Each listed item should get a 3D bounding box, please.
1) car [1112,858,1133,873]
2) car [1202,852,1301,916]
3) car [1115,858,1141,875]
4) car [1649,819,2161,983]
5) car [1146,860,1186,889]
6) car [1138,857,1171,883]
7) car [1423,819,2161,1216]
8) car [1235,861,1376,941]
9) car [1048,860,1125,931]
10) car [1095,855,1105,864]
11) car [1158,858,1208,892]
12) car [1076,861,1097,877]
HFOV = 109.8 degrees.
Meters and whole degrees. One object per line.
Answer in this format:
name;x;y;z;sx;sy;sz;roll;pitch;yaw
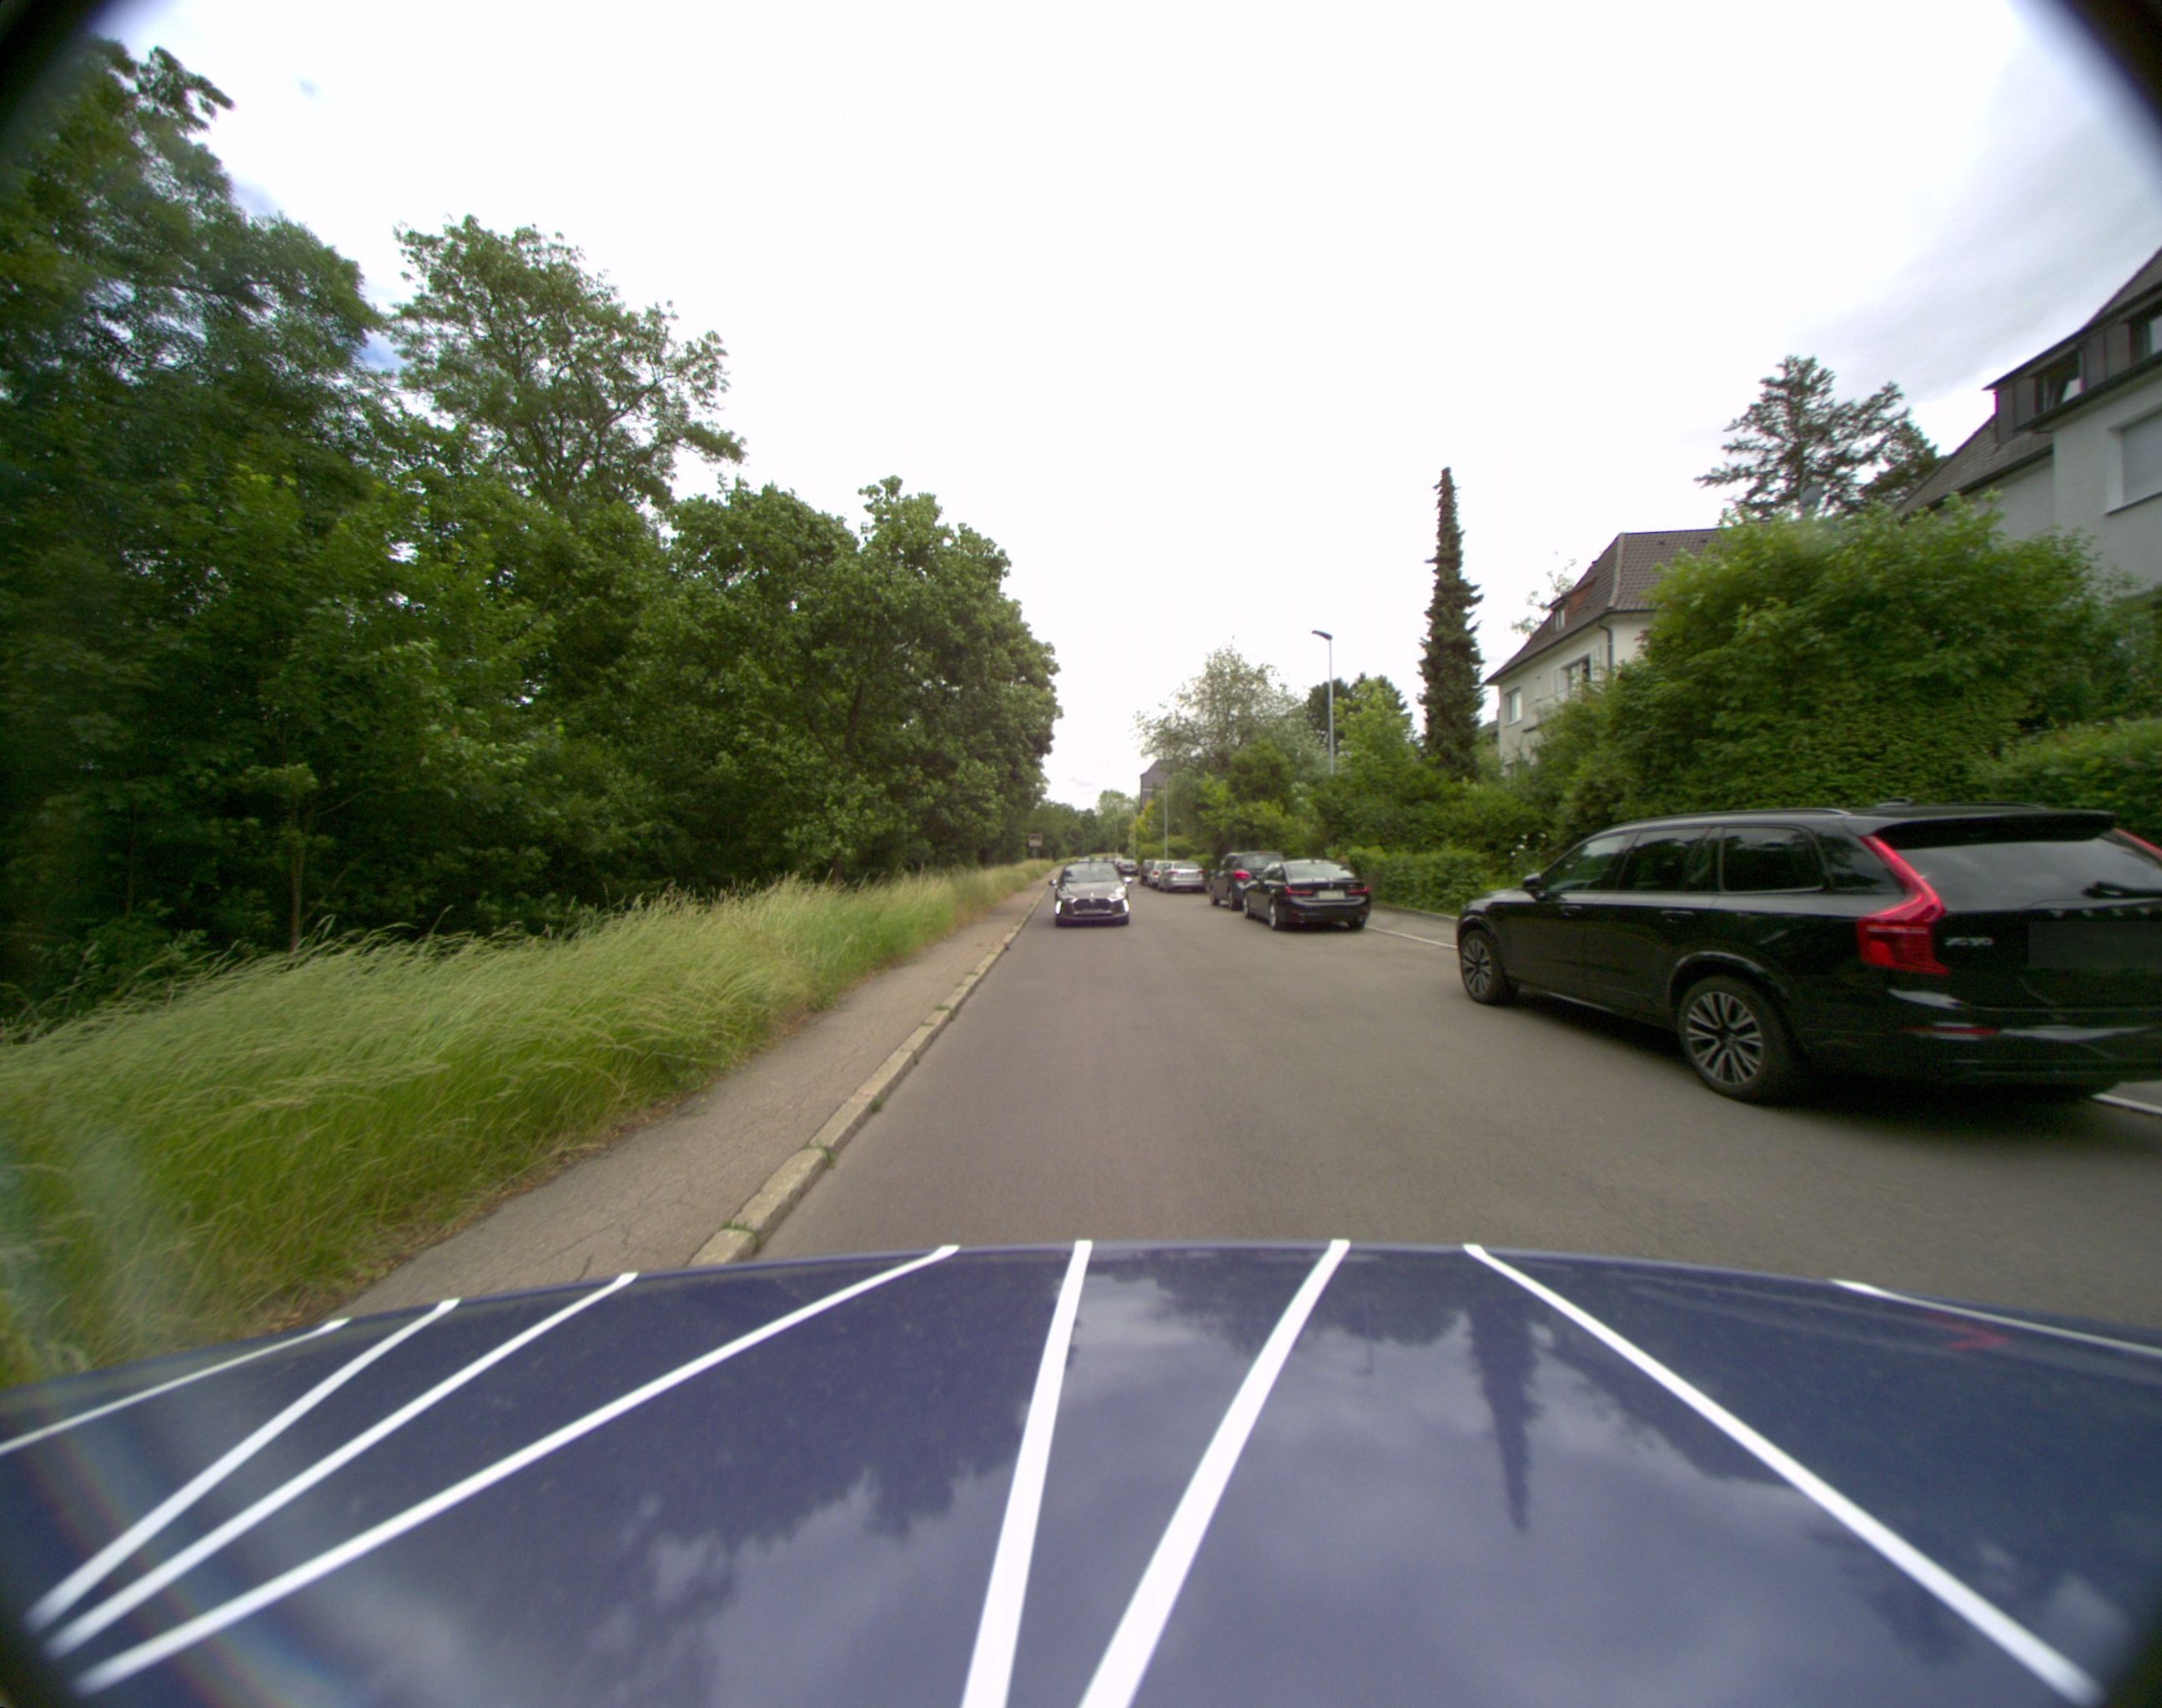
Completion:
car;3.859;1.067;71.532;1.628;1.423;4.350;0;0;-2
car;4.813;0.785;22.104;1.736;1.623;4.568;-2;0;-1
car;3.989;1.041;65.045;1.783;1.423;5.104;-1;0;-2
car;9.192;0.524;8.832;3.698;1.628;1.830;-2;0;13
car;4.435;1.017;40.109;1.664;1.444;4.381;0;0;0
car;4.314;0.916;44.827;1.627;1.441;3.969;0;0;1
car;4.771;0.715;5.929;1.979;1.726;5.190;-2;0;2
car;4.696;0.903;16.654;1.758;1.404;4.899;-2;0;2
car;0.230;0.917;18.379;1.619;1.460;4.001;-2;0;3
car;3.357;0.957;133.541;1.646;1.461;4.072;1;0;2
car;4.556;0.914;34.318;1.627;1.441;4.093;0;0;-1
car;0.526;1.394;72.801;1.785;1.417;4.489;-1;0;-2
